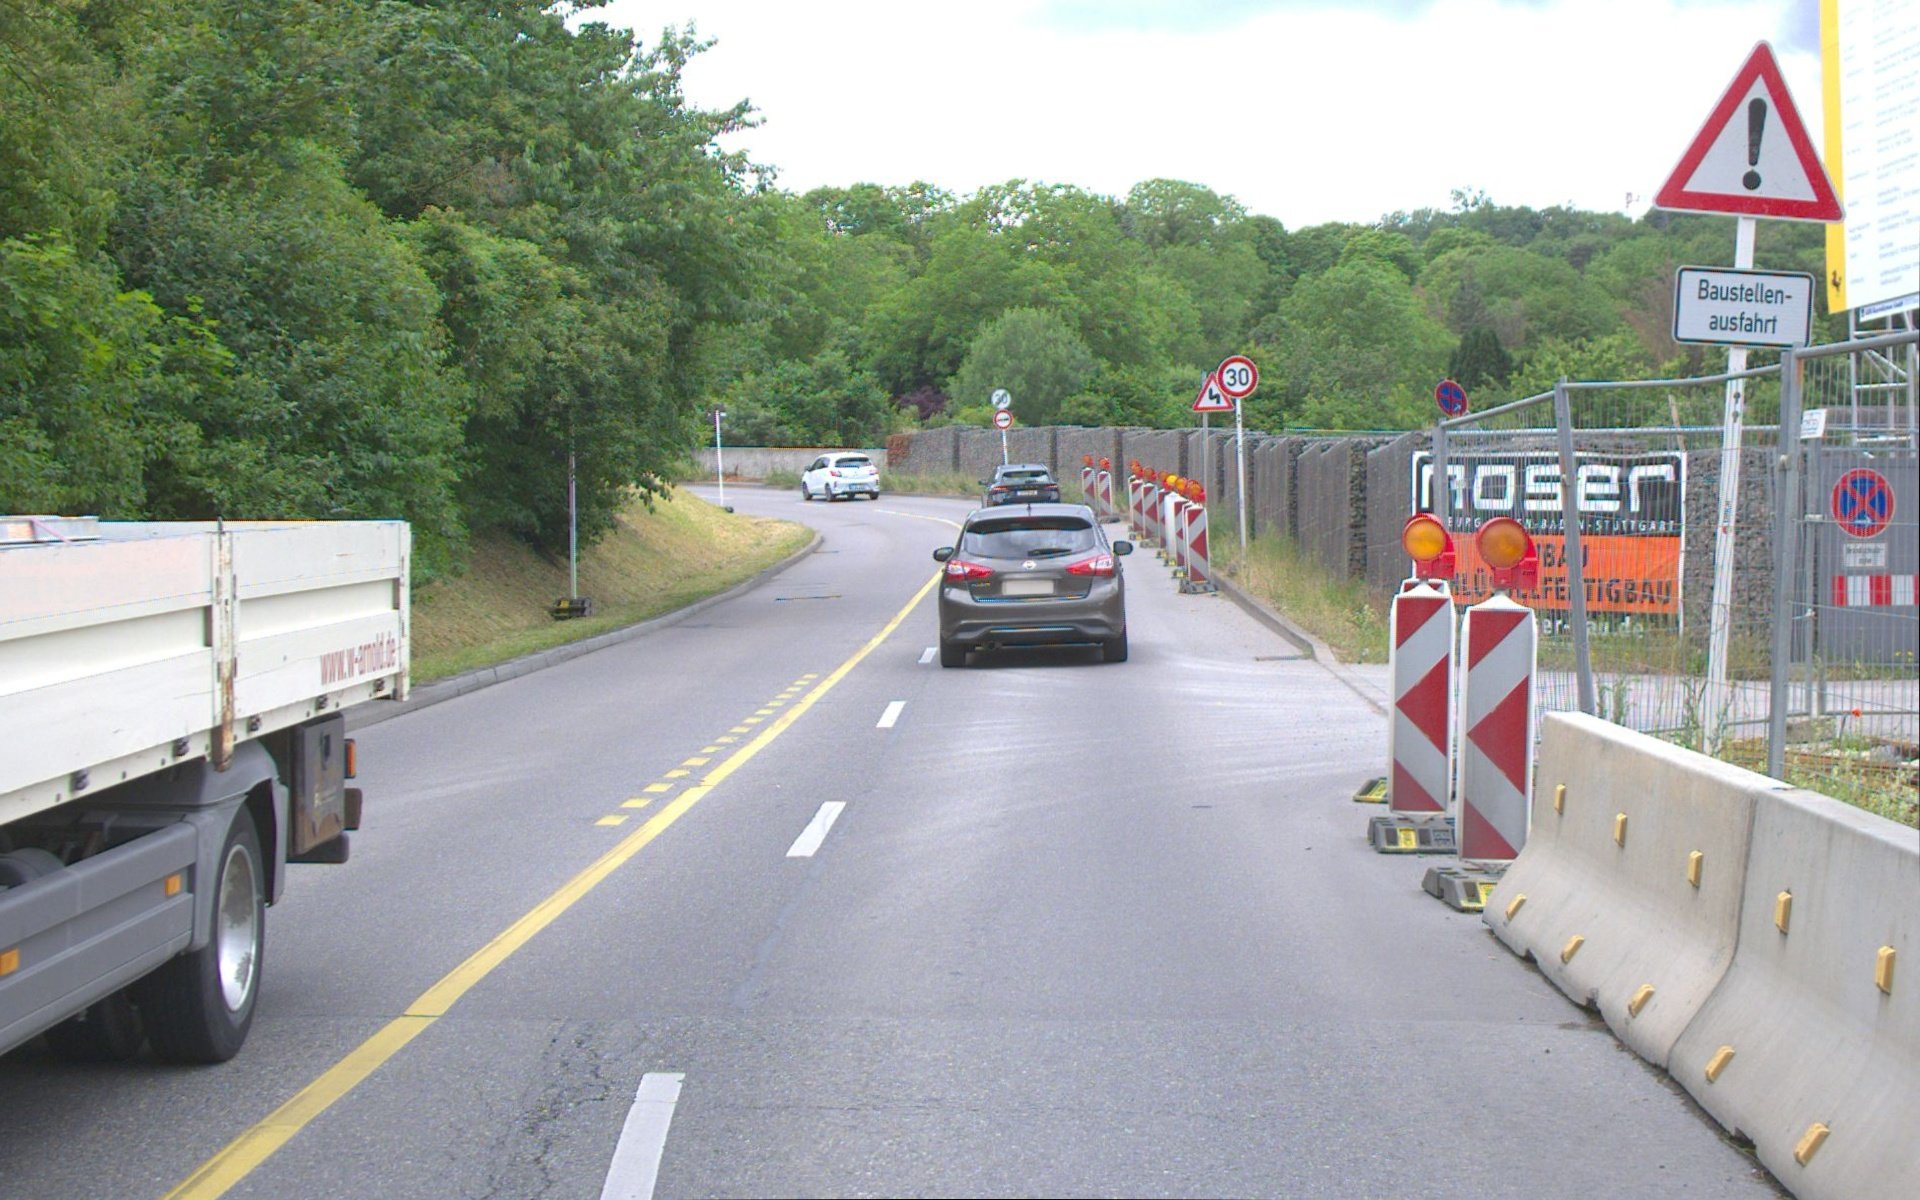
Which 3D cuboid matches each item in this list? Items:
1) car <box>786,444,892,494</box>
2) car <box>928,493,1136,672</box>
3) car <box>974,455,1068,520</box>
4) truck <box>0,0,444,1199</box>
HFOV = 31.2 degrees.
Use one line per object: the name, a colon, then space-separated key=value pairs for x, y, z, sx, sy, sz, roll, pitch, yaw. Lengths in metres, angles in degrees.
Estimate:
car: x=-3.820 y=-4.135 z=108.142 sx=1.832 sy=1.434 sz=3.920 roll=-2 pitch=4 yaw=-28
car: x=0.649 y=-0.223 z=33.643 sx=1.839 sy=1.478 sz=4.001 roll=-3 pitch=3 yaw=0
car: x=1.445 y=-2.703 z=83.070 sx=1.779 sy=1.448 sz=3.859 roll=1 pitch=1 yaw=-6
truck: x=-3.253 y=-0.342 z=8.104 sx=2.751 sy=3.247 sz=7.611 roll=1 pitch=1 yaw=1
